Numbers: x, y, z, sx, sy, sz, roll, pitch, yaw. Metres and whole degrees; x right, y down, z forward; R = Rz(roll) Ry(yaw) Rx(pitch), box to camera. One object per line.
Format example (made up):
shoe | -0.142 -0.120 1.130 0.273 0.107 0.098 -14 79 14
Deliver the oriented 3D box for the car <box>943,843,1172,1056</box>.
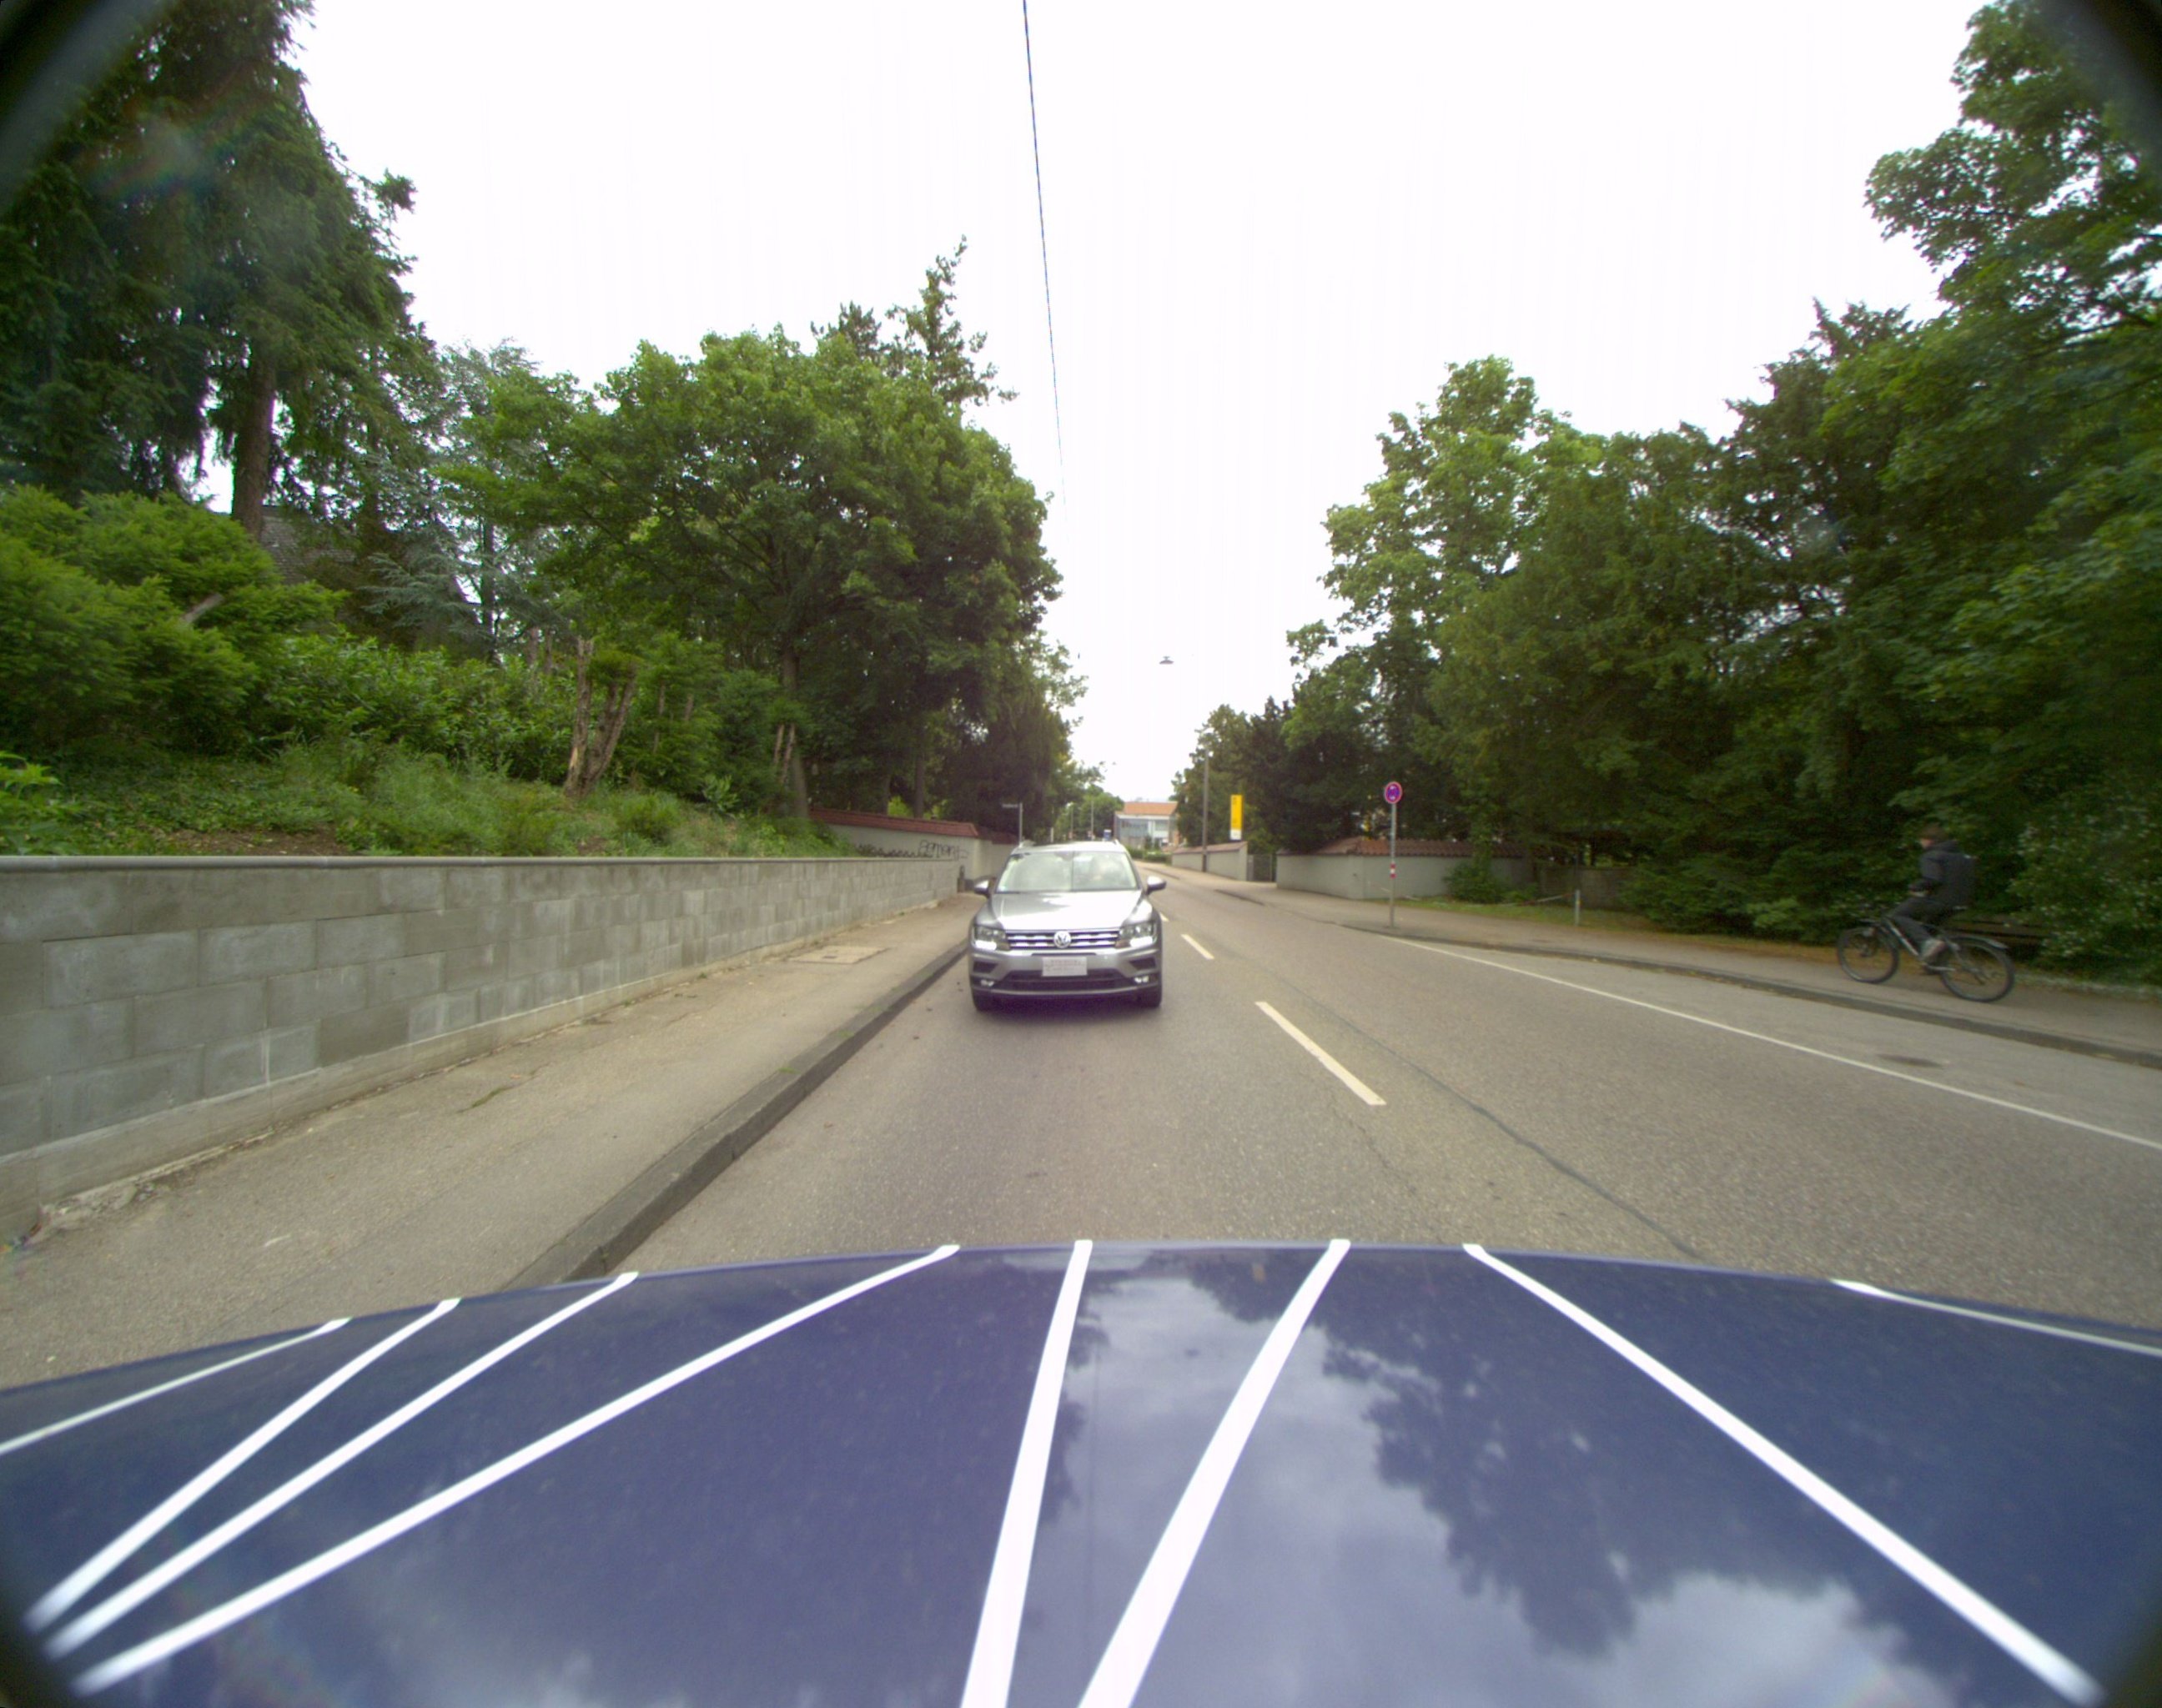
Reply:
car | -0.175 0.754 8.545 1.820 1.690 4.718 -1 1 0

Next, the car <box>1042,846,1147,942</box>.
car | 0.252 0.674 15.501 1.820 1.647 4.487 0 1 0

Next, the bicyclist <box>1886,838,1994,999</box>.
bicyclist | 9.336 0.674 8.272 0.489 1.674 0.588 -2 1 1

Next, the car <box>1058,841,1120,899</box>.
car | 0.248 0.443 24.766 1.820 1.733 4.487 0 1 0

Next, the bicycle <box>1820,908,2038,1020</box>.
bicycle | 9.359 1.169 8.500 0.496 0.959 1.748 -2 1 1
